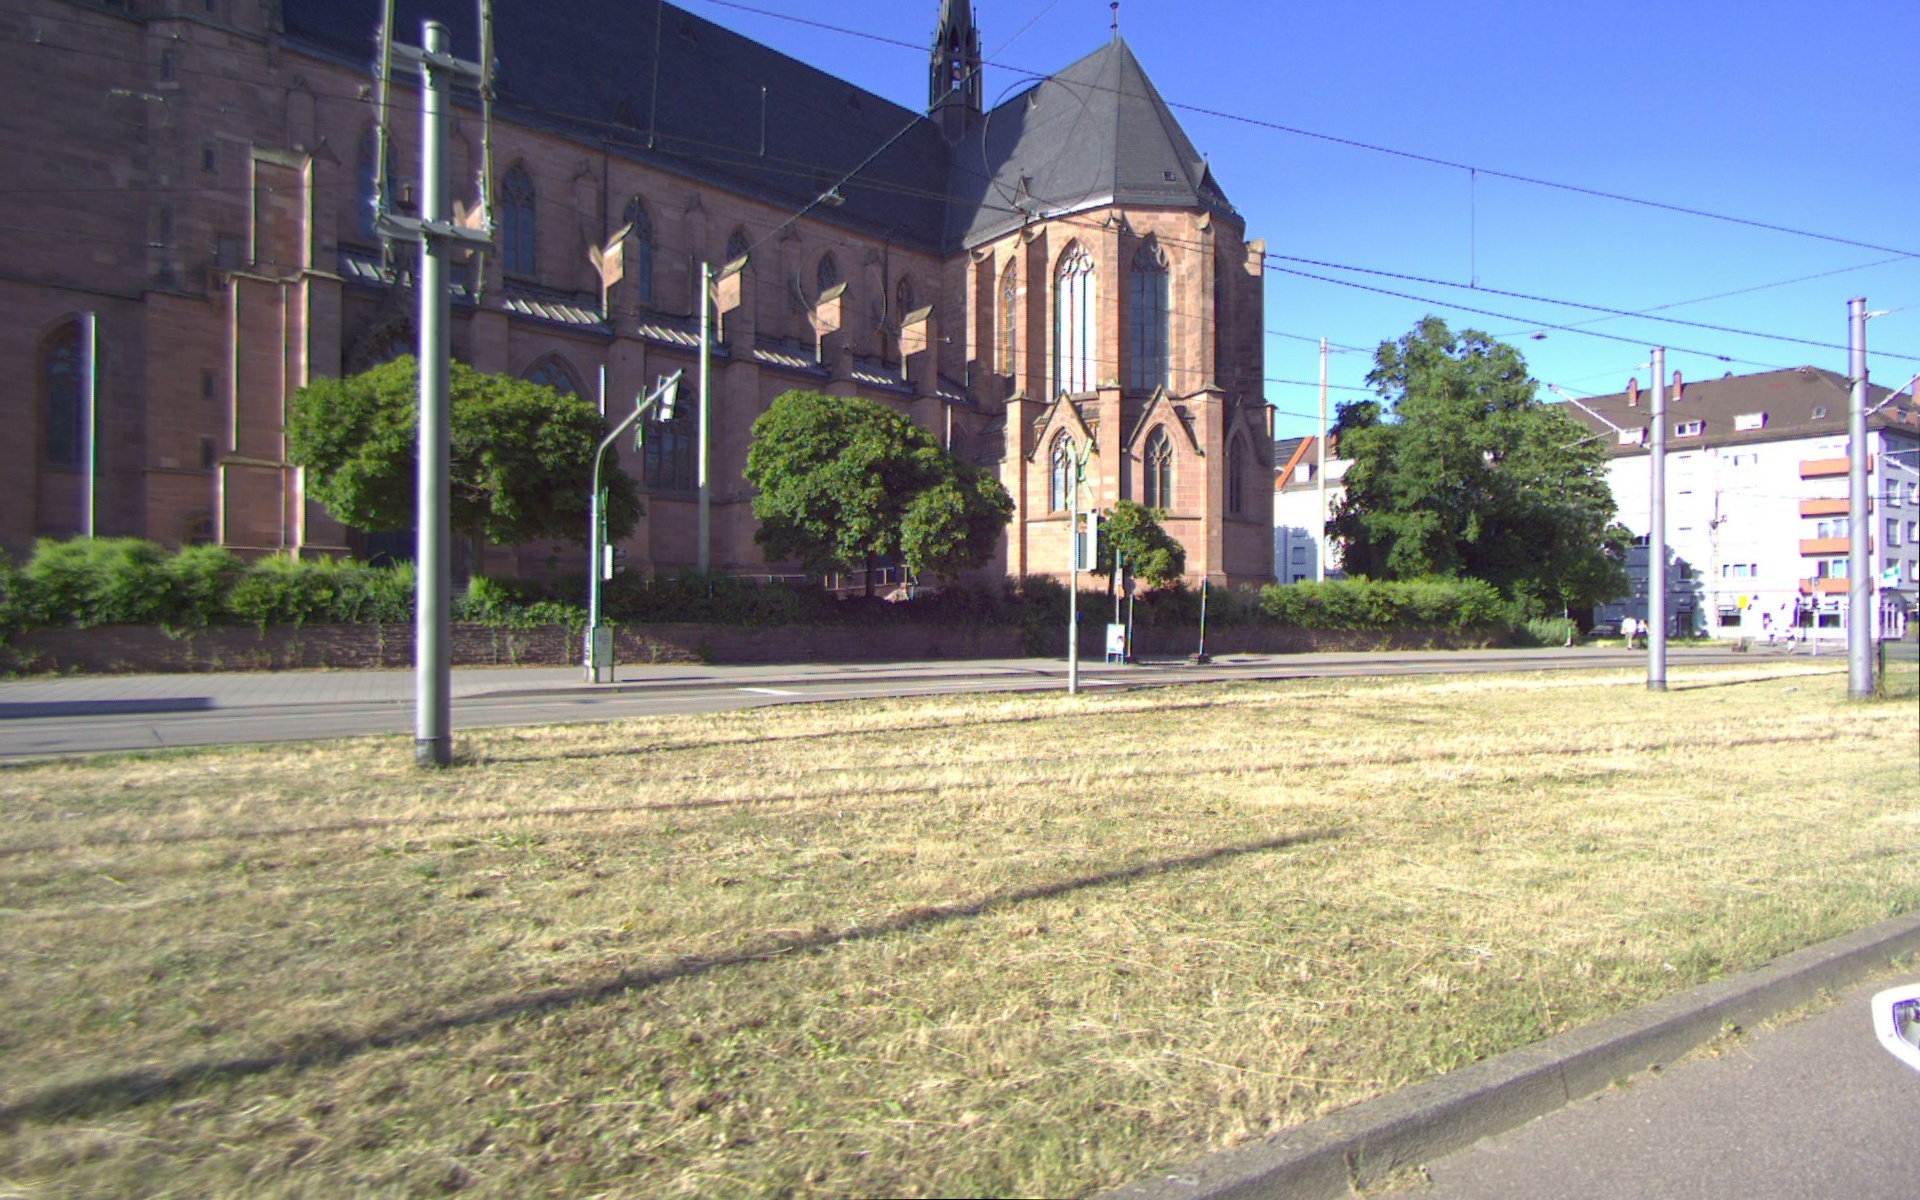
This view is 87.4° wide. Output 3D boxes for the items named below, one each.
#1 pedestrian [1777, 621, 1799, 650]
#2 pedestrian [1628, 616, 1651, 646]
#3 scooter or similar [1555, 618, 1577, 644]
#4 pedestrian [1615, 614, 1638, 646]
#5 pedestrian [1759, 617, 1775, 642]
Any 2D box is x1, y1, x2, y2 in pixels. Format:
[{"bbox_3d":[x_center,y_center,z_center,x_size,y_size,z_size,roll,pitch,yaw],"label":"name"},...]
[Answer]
[{"bbox_3d":[44.759,1.919,54.311,0.583,1.487,0.686,-2,0,-25],"label":"pedestrian"},{"bbox_3d":[35.305,1.606,52.200,0.905,1.487,0.586,-2,0,-29],"label":"pedestrian"},{"bbox_3d":[31.974,1.641,52.965,1.215,1.278,0.400,-2,0,-29],"label":"scooter or similar"},{"bbox_3d":[35.015,1.574,52.781,0.887,1.620,0.641,-2,0,-29],"label":"pedestrian"},{"bbox_3d":[50.139,1.807,62.403,0.580,1.487,0.914,-3,0,31],"label":"pedestrian"}]
